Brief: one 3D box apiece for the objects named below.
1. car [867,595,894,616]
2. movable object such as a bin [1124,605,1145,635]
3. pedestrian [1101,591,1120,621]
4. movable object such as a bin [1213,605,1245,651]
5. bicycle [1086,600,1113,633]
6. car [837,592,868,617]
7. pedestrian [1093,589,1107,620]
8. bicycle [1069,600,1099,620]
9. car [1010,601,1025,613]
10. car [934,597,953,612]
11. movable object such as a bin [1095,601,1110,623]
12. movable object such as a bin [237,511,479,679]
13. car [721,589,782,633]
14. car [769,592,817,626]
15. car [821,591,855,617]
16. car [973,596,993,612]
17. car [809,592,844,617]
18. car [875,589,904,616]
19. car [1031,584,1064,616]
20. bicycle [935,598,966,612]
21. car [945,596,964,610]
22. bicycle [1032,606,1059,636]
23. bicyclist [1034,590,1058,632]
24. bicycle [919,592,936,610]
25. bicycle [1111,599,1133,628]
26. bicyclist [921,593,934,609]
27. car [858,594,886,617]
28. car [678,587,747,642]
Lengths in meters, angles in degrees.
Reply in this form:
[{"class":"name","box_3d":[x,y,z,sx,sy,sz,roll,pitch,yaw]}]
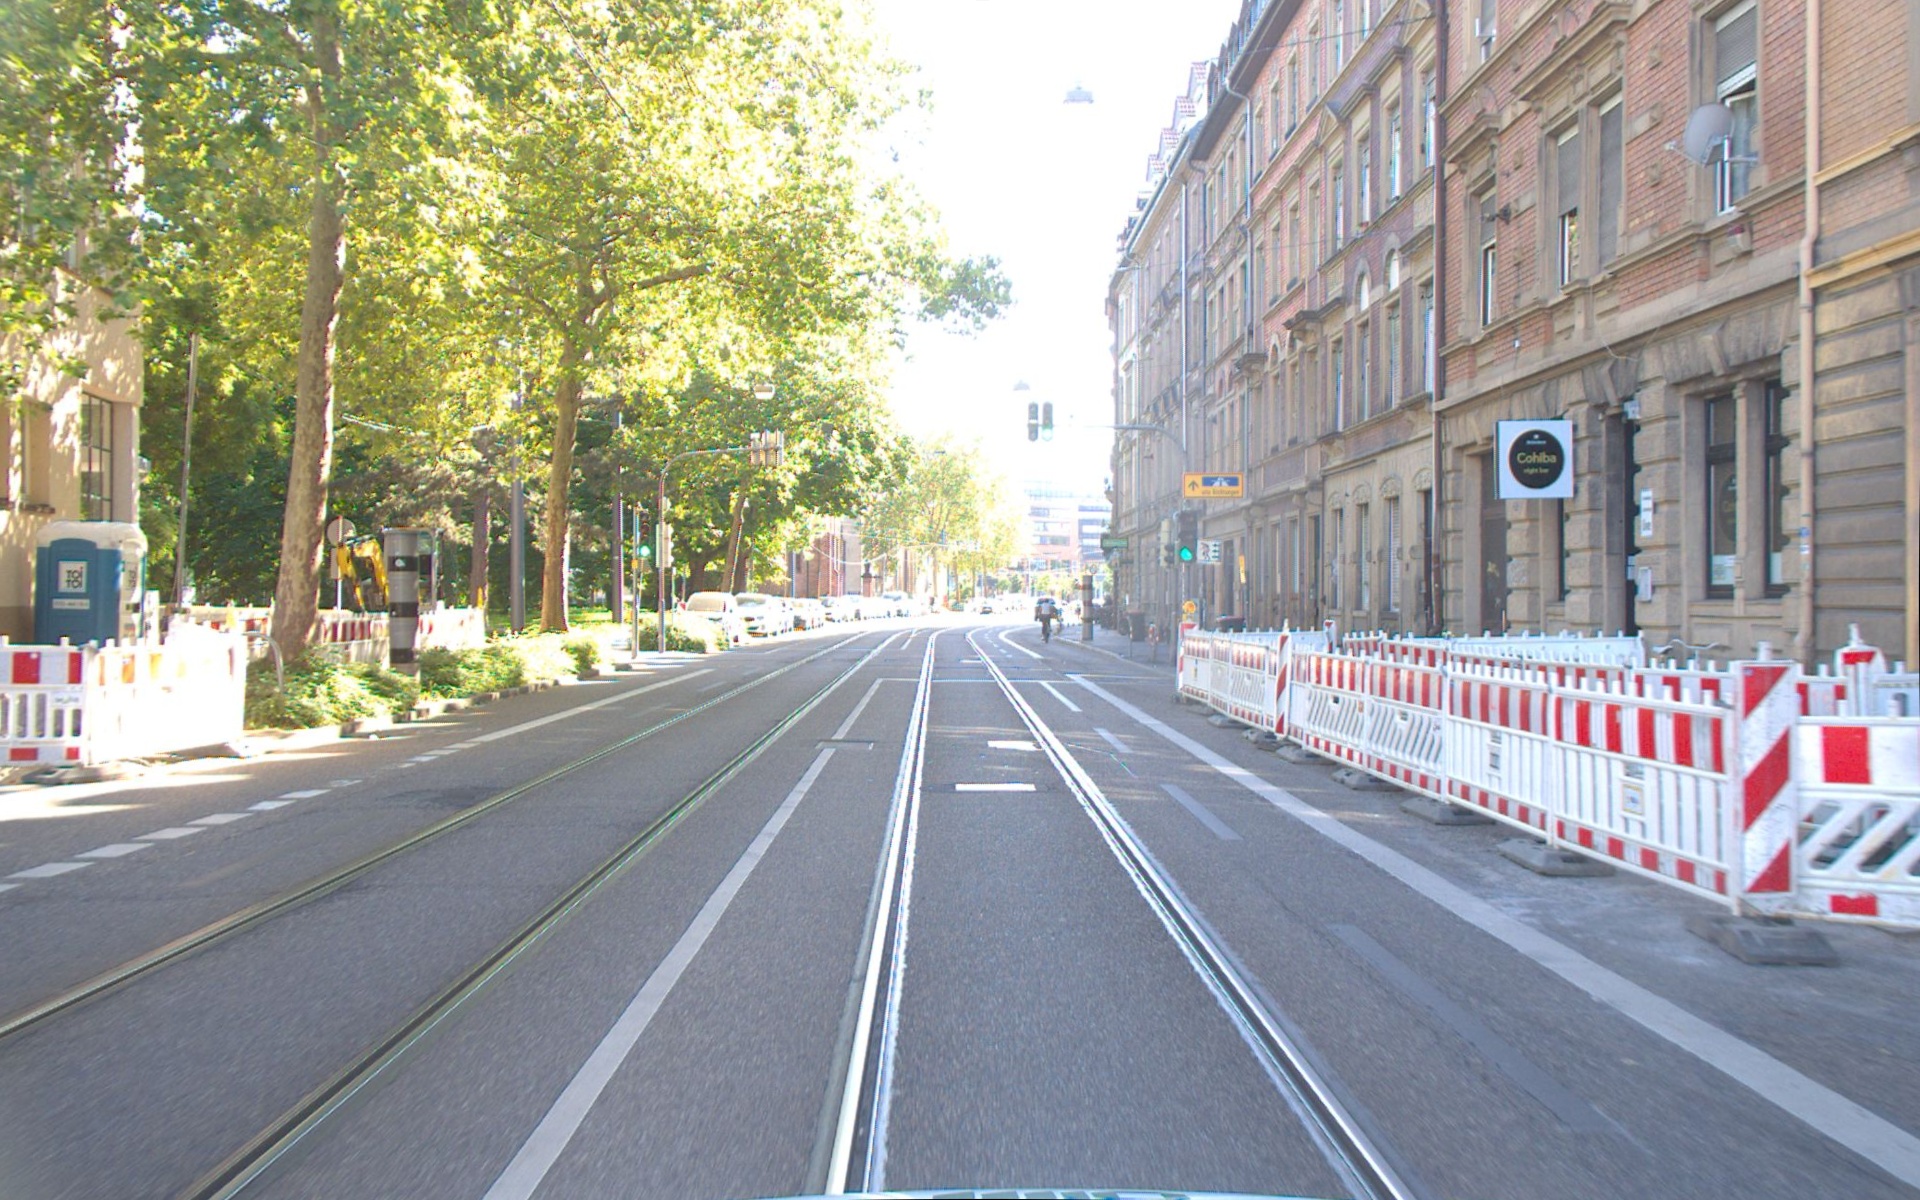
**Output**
[{"class":"car","box_3d":[-6.167,0.433,128.789,1.712,1.614,4.044,1,0,2]},{"class":"movable object such as a bin","box_3d":[6.277,0.730,59.459,0.660,1.054,0.813,0,1,0]},{"class":"pedestrian","box_3d":[9.241,0.352,101.456,1.033,1.791,1.332,1,-1,0]},{"class":"movable object such as a bin","box_3d":[6.701,0.698,41.282,0.607,1.129,0.780,1,-1,-4]},{"class":"bicycle","box_3d":[6.818,0.807,80.517,0.950,1.541,3.249,1,0,11]},{"class":"car","box_3d":[-7.337,0.324,113.506,1.712,1.614,4.044,1,0,2]},{"class":"pedestrian","box_3d":[8.835,0.290,104.236,0.767,1.922,0.971,1,-1,7]},{"class":"bicycle","box_3d":[7.189,0.572,96.145,0.628,1.137,2.288,1,-1,36]},{"class":"car","box_3d":[7.189,0.918,206.057,1.712,1.447,4.045,1,0,4]},{"class":"car","box_3d":[-1.691,0.448,171.531,1.712,1.447,4.045,1,0,4]},{"class":"movable object such as a bin","box_3d":[7.399,0.625,85.827,0.681,1.112,0.741,1,-1,-3]},{"class":"movable object such as a bin","box_3d":[-10.761,-0.086,30.174,2.445,2.691,5.985,1,0,-3]},{"class":"car","box_3d":[-8.087,0.426,64.394,1.712,1.636,4.044,1,0,2]},{"class":"car","box_3d":[-8.048,0.447,80.043,1.712,1.536,4.044,1,0,2]},{"class":"car","box_3d":[-7.947,0.280,108.058,1.712,1.614,4.044,1,0,2]},{"class":"car","box_3d":[2.293,0.410,161.923,1.712,1.447,4.045,1,0,4]},{"class":"car","box_3d":[-8.291,0.292,102.987,1.712,1.521,4.044,1,0,2]},{"class":"car","box_3d":[-5.681,0.207,133.827,2.016,2.088,4.044,1,0,2]},{"class":"car","box_3d":[5.965,0.016,113.227,1.953,2.049,4.000,1,0,0]},{"class":"bicycle","box_3d":[-0.879,0.496,157.154,2.826,1.253,0.885,1,-1,10]},{"class":"car","box_3d":[-0.581,0.311,181.672,1.712,1.447,4.045,1,0,4]},{"class":"bicycle","box_3d":[3.269,0.814,63.542,0.838,1.107,2.487,1,0,-1]},{"class":"bicyclist","box_3d":[3.285,0.432,63.521,0.821,1.585,0.965,1,-1,-1]},{"class":"bicycle","box_3d":[-3.034,0.133,153.997,1.208,1.600,2.899,1,0,6]},{"class":"bicycle","box_3d":[6.443,0.526,65.793,0.626,1.137,2.297,1,0,0]},{"class":"bicyclist","box_3d":[-3.022,0.073,153.961,1.054,1.452,1.147,1,-1,7]},{"class":"car","box_3d":[-6.563,0.396,123.591,1.712,1.614,4.044,1,0,2]},{"class":"car","box_3d":[-8.021,0.459,53.927,1.513,1.687,3.763,1,0,2]}]
